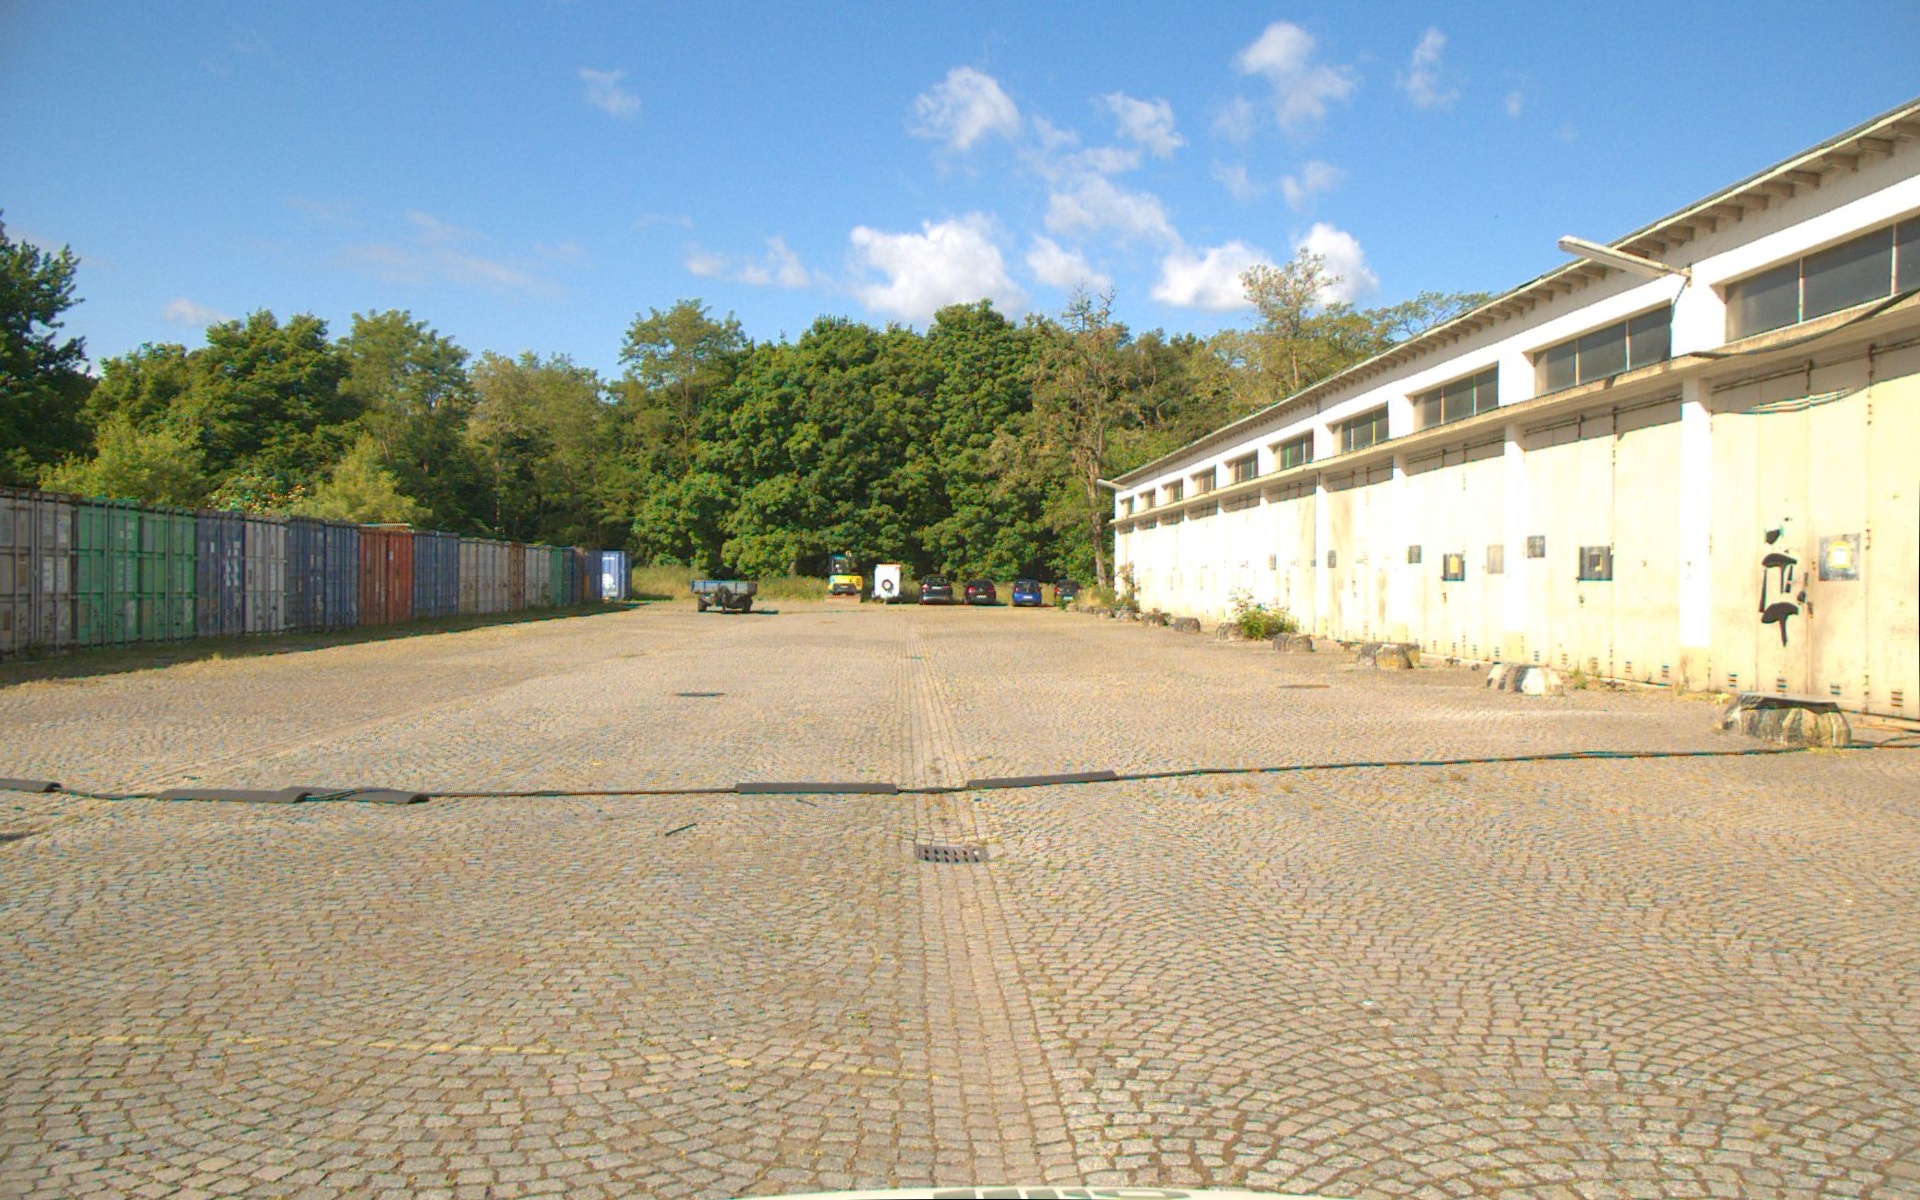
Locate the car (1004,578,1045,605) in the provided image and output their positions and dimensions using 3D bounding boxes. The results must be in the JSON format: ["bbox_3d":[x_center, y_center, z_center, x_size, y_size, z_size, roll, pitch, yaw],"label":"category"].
[{"bbox_3d":[3.550,-0.486,91.557,1.953,1.491,3.998,0,1,-2],"label":"car"}]

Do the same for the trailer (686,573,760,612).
[{"bbox_3d":[-10.438,-0.348,73.274,2.735,1.675,5.617,0,1,-3],"label":"trailer"}]

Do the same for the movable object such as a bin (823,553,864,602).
[{"bbox_3d":[-6.546,-1.274,92.754,2.188,2.703,3.997,0,1,-5],"label":"movable object such as a bin"}]

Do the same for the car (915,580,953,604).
[{"bbox_3d":[-1.451,-0.451,90.983,1.953,1.280,3.998,0,1,-2],"label":"car"}]

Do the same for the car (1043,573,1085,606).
[{"bbox_3d":[5.818,-0.607,92.897,1.953,1.803,3.998,0,1,-2],"label":"car"}]

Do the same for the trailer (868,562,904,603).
[{"bbox_3d":[-4.107,-0.968,92.102,1.954,2.200,4.429,0,1,-3],"label":"trailer"}]

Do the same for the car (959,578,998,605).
[{"bbox_3d":[1.011,-0.464,91.461,1.953,1.449,3.998,0,1,-2],"label":"car"}]
